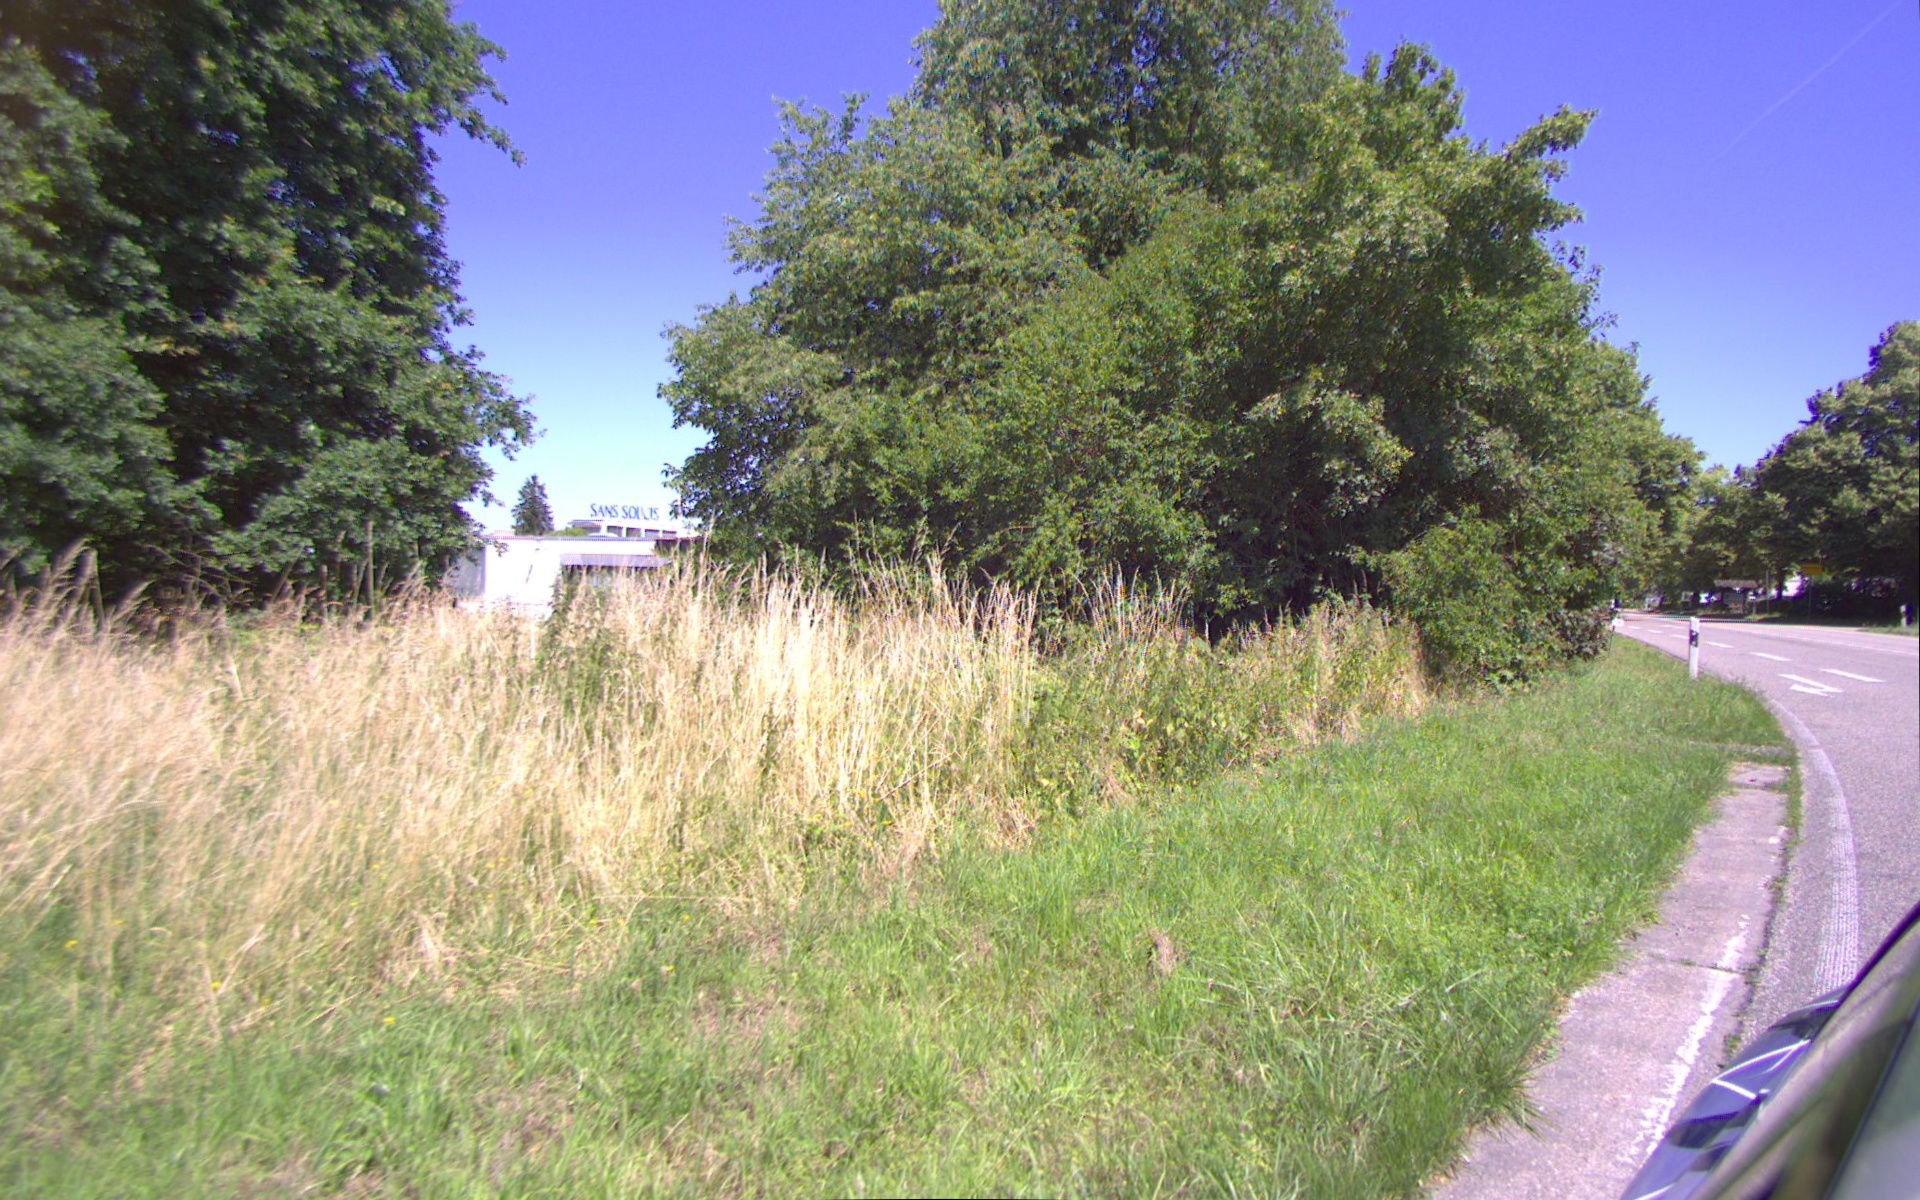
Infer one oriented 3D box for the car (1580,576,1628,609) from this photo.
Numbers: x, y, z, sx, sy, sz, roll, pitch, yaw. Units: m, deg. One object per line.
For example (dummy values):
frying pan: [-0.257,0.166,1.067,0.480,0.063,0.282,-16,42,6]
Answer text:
car: [42.551,-0.458,66.976,2.074,2.039,4.367,0,-1,25]
